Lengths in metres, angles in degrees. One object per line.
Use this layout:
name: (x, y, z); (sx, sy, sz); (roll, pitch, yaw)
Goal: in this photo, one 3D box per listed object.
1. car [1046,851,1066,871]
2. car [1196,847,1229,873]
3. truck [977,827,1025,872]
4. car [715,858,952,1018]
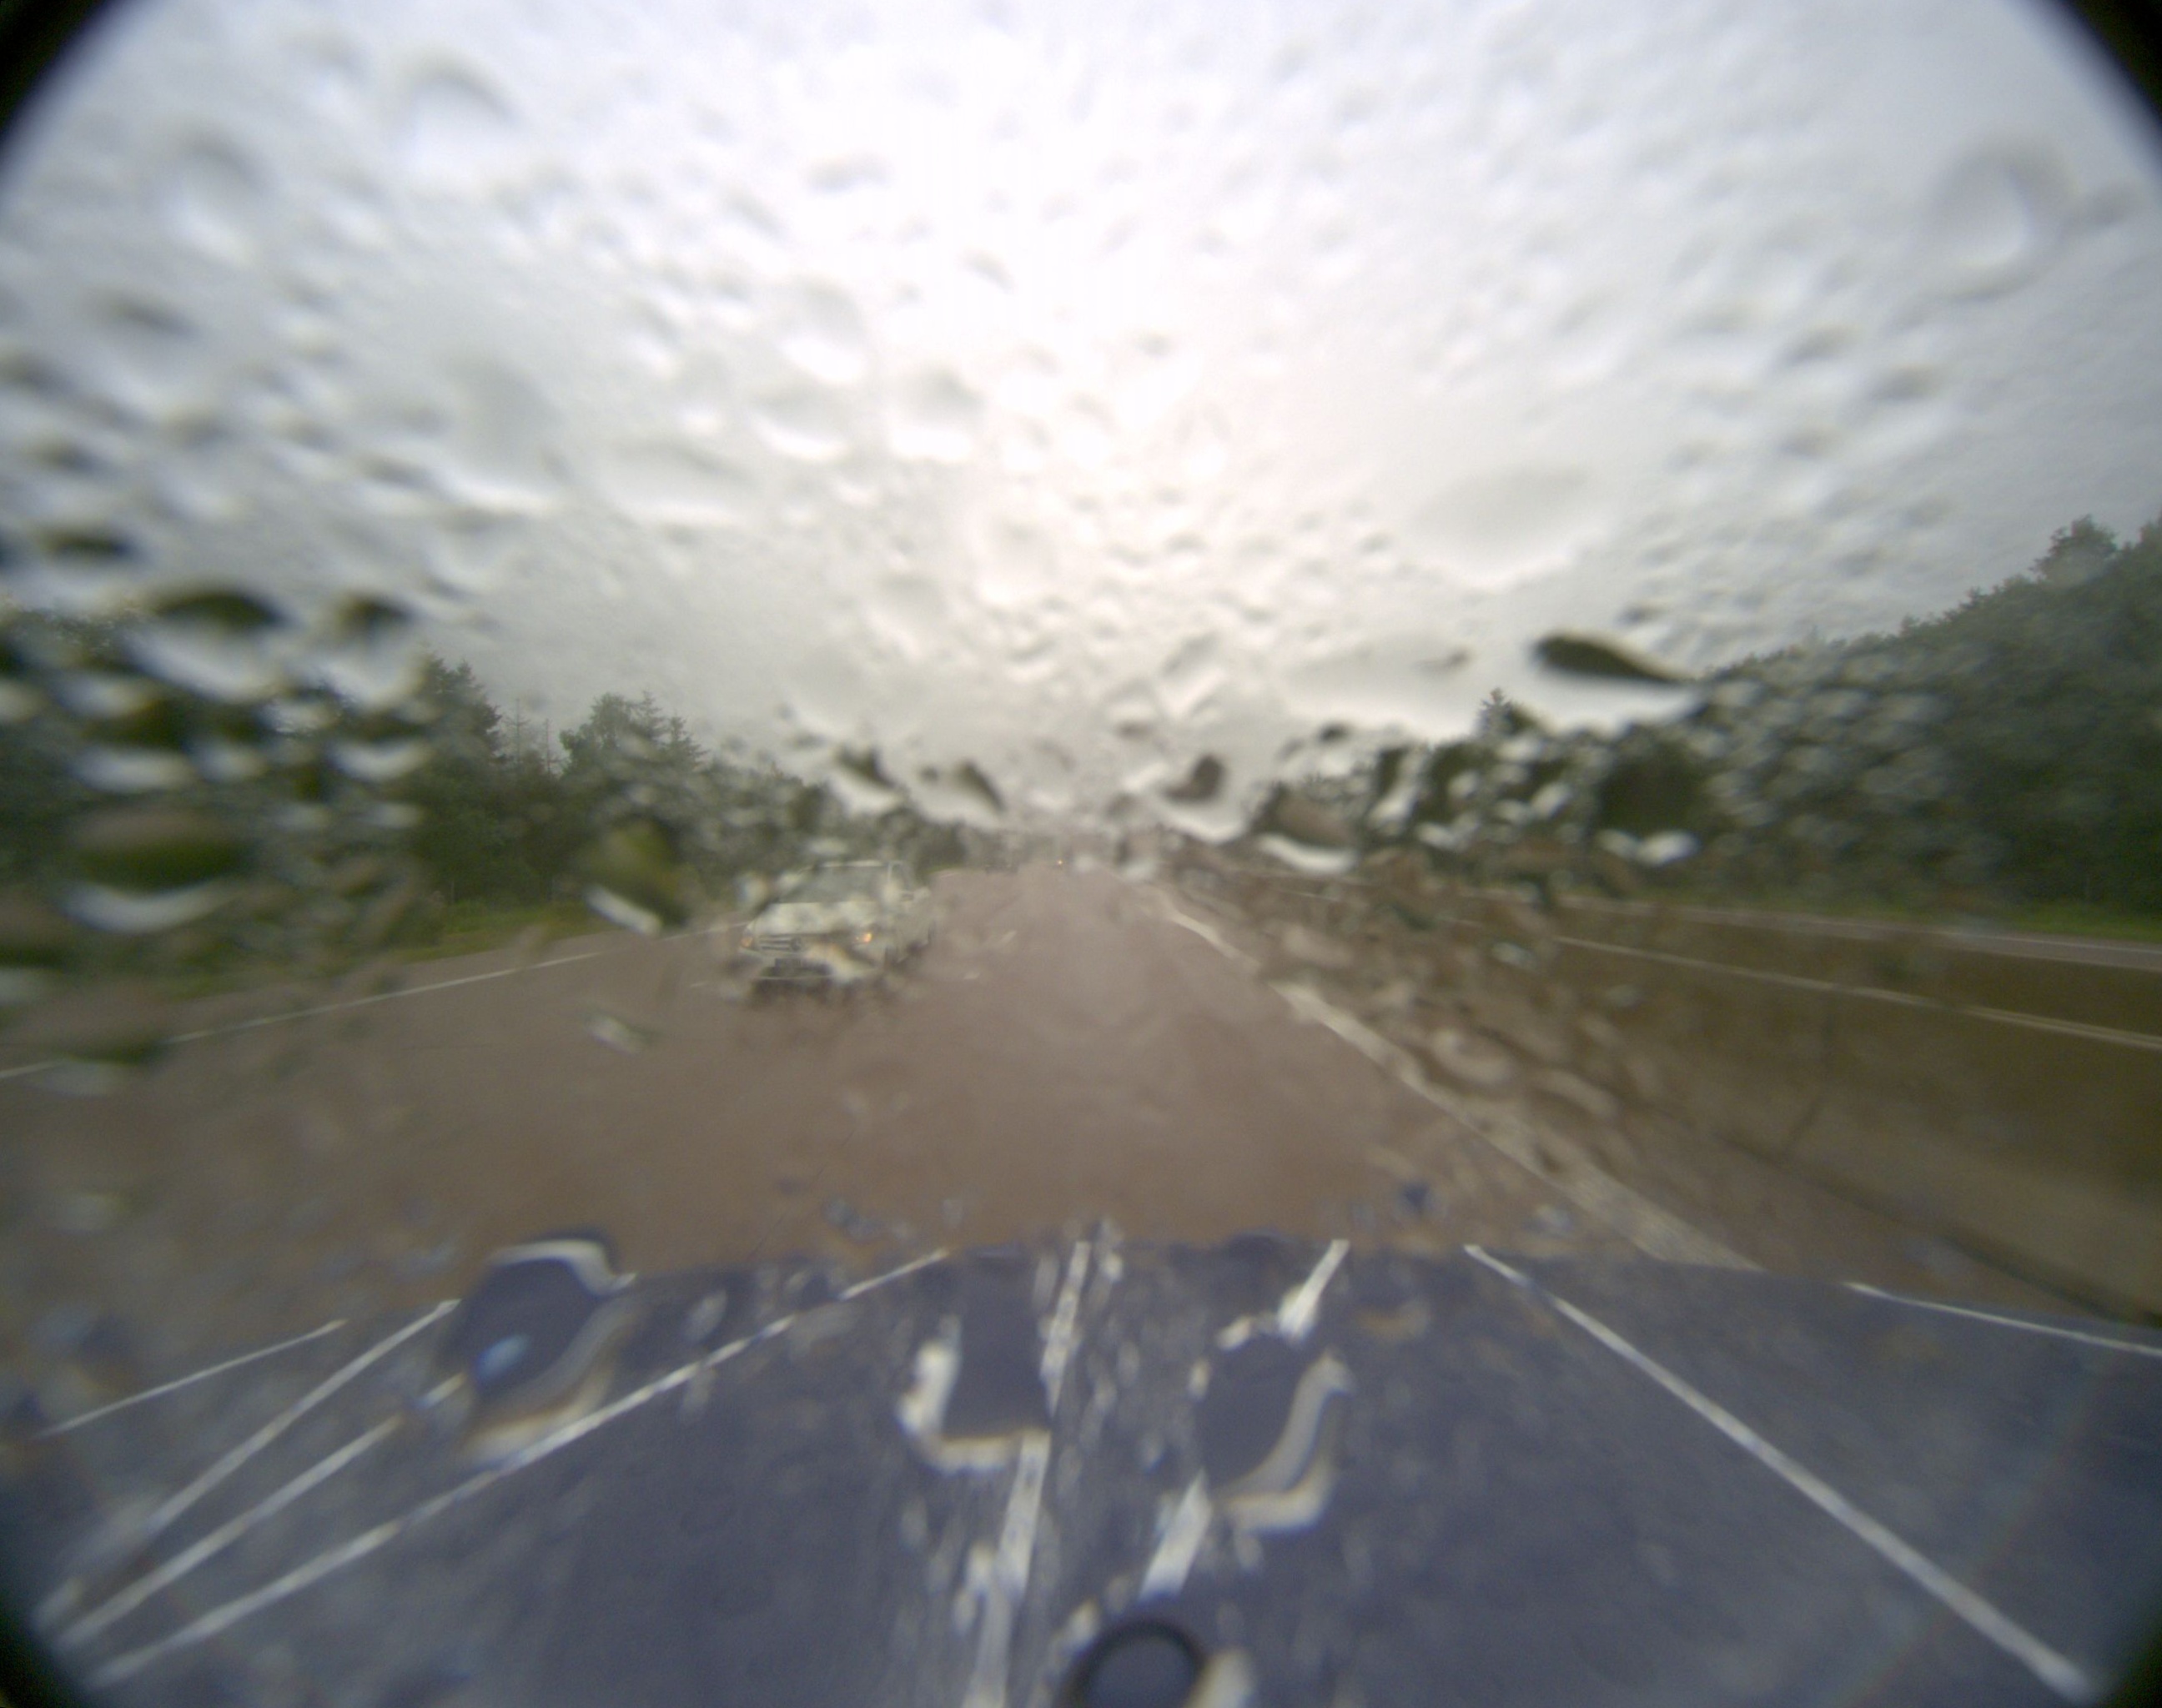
car: (-2.641, 0.719, 81.790); (1.999, 2.002, 4.276); (-2, 0, -1)
car: (9.528, 0.417, 55.205); (1.793, 1.786, 3.876); (0, 1, 1)
truck: (-7.091, -0.367, 68.392); (3.242, 3.708, 7.954); (-2, 0, 1)
car: (-3.239, 0.975, 11.089); (1.813, 1.718, 4.743); (-2, 0, 0)
